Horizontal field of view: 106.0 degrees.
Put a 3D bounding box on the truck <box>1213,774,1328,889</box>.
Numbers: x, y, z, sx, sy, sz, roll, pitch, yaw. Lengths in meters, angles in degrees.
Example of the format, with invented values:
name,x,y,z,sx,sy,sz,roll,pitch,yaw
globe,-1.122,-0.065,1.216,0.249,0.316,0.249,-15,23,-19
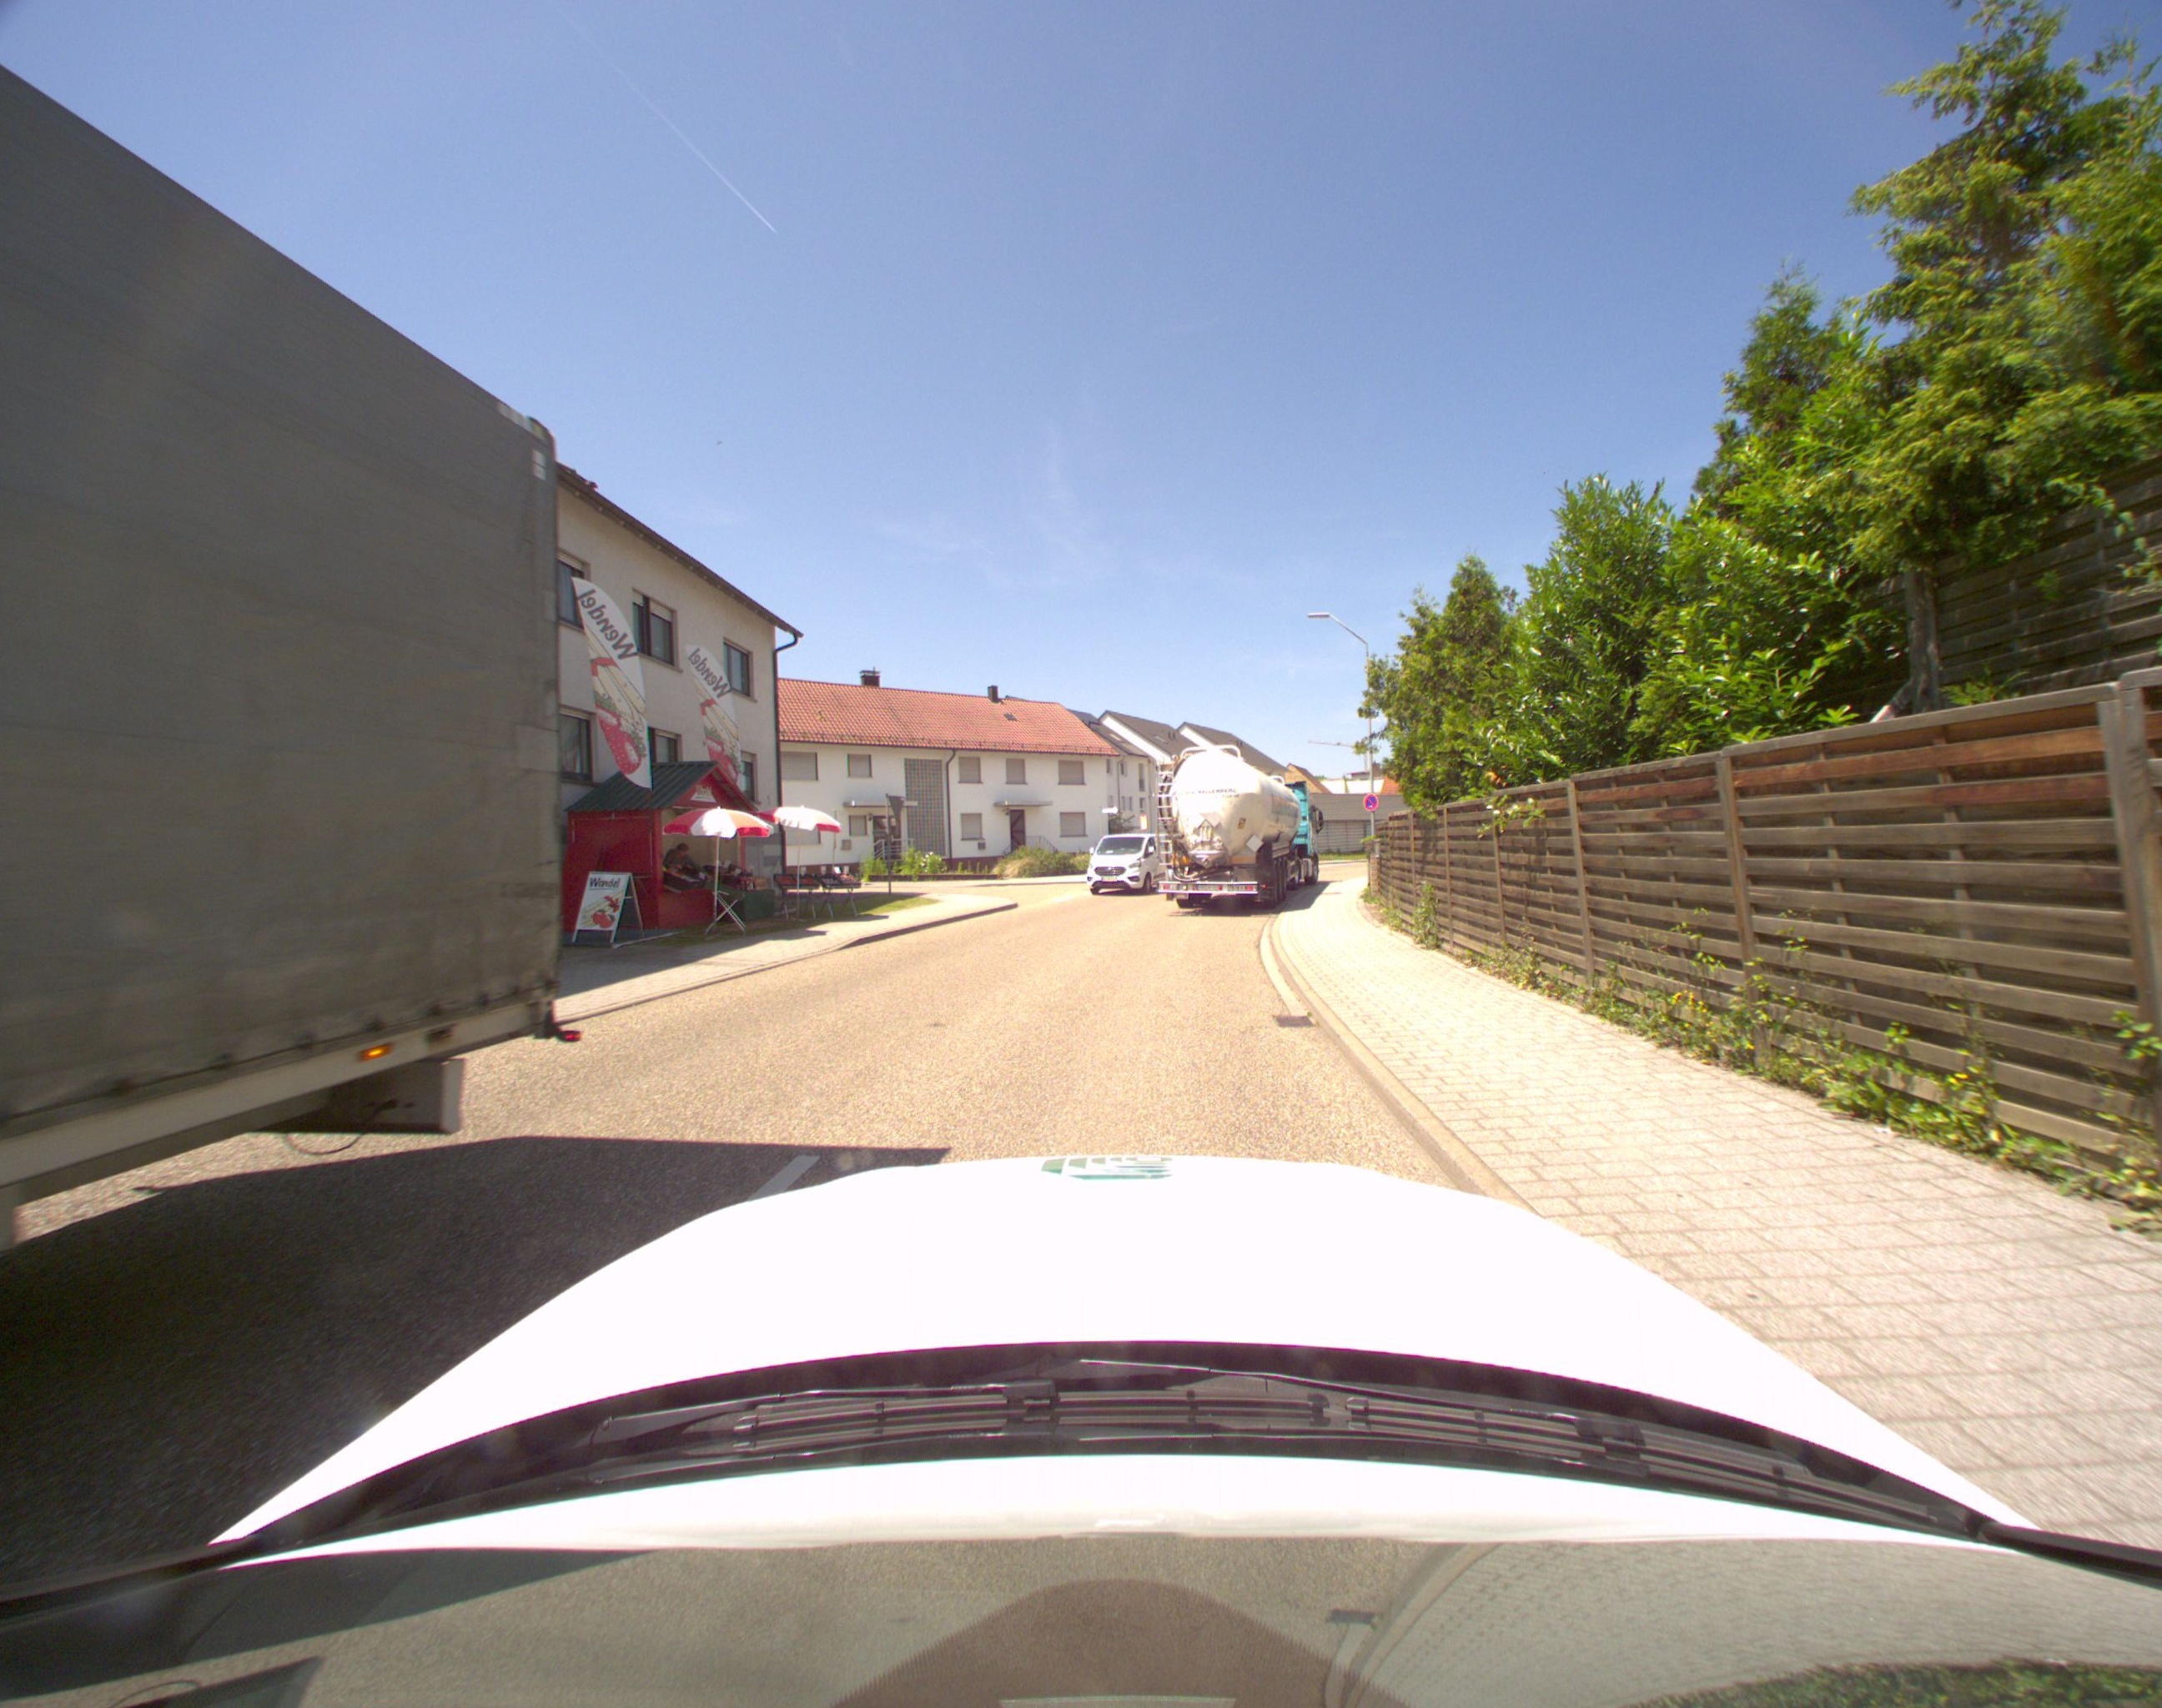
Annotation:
name,x,y,z,sx,sy,sz,roll,pitch,yaw
truck,7.430,-0.807,31.365,2.960,3.965,5.612,-2,0,26

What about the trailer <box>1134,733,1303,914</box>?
name,x,y,z,sx,sy,sz,roll,pitch,yaw
trailer,4.524,-0.736,23.694,2.928,3.947,11.675,-1,1,19

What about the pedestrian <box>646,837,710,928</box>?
name,x,y,z,sx,sy,sz,roll,pitch,yaw
pedestrian,-7.301,0.497,14.772,0.605,1.587,0.814,-2,0,34

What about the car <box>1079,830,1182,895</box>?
name,x,y,z,sx,sy,sz,roll,pitch,yaw
car,1.839,0.198,27.978,1.976,1.999,5.242,0,1,22
